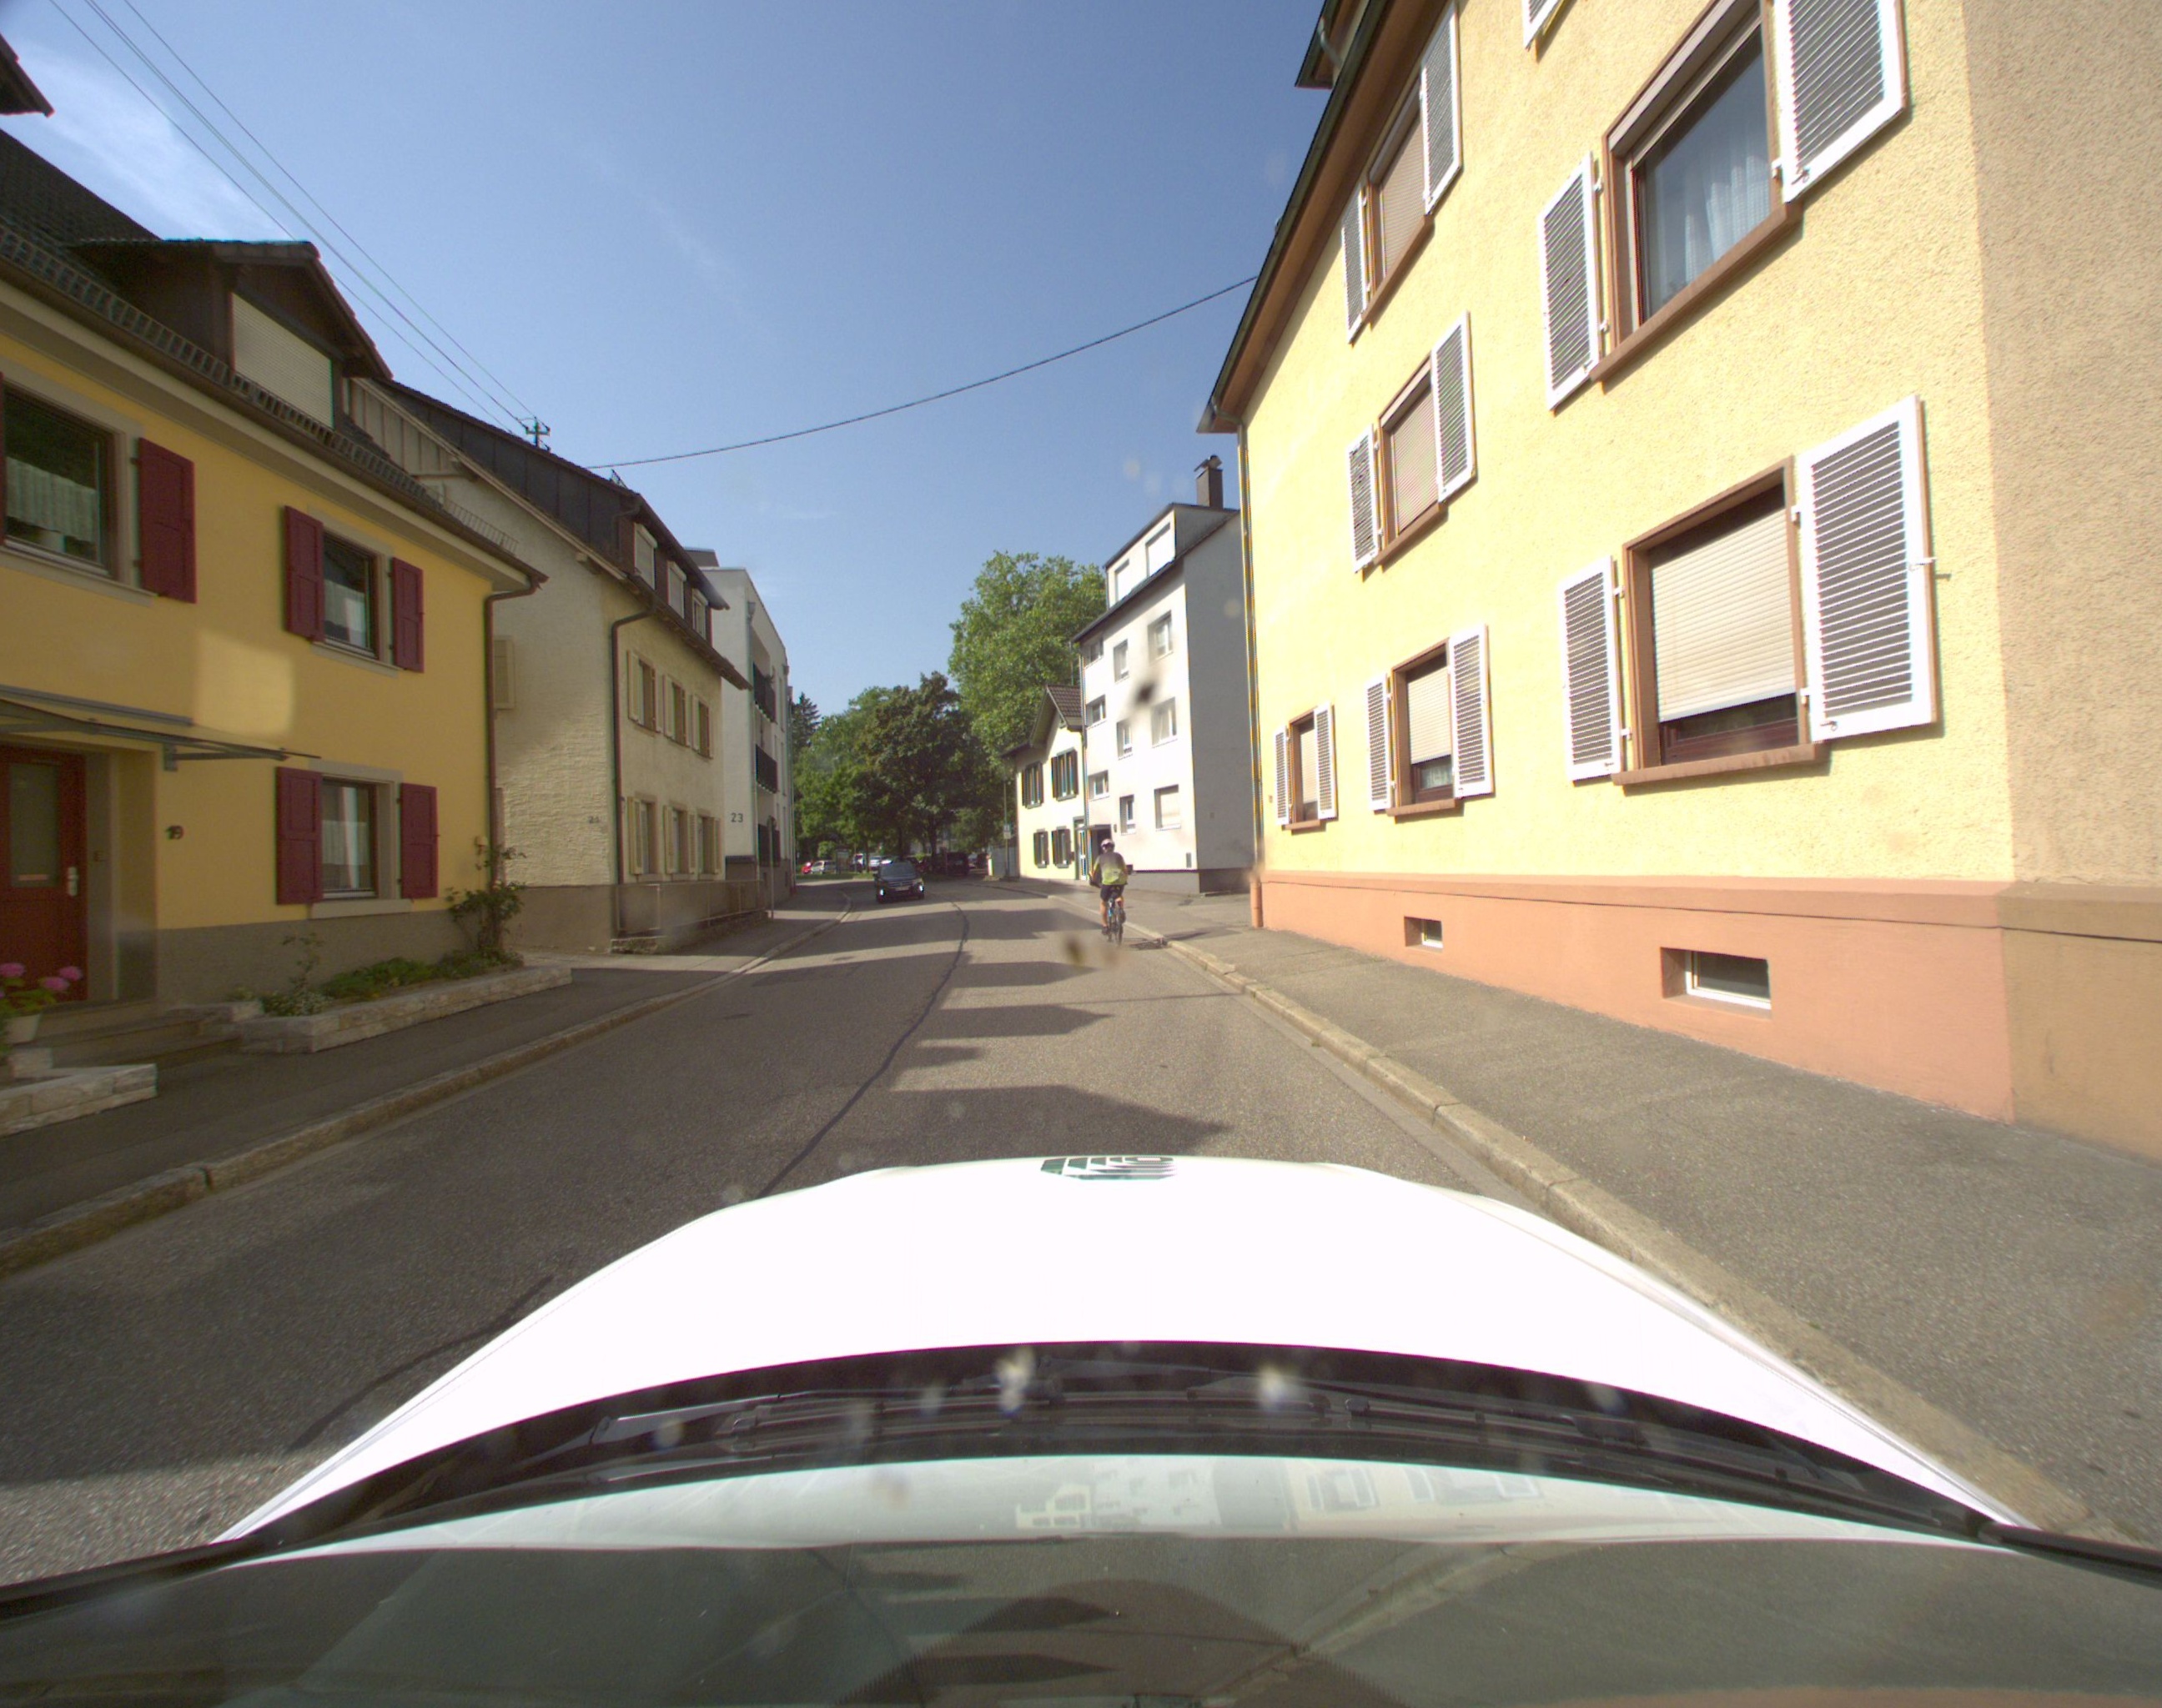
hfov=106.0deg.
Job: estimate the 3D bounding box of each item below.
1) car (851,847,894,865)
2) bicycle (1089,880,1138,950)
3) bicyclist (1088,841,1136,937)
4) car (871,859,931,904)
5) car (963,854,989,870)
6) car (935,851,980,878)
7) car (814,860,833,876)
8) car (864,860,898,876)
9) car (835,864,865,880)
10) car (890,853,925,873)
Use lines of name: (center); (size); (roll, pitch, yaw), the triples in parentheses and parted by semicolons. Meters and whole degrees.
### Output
car: (-23.674, 0.208, 92.538); (1.974, 1.855, 4.730); (-2, 0, 30)
bicycle: (0.525, 0.984, 13.567); (0.697, 1.035, 1.470); (-1, 0, -2)
bicyclist: (0.508, 0.569, 13.607); (0.683, 1.531, 0.715); (-3, -1, -1)
car: (-7.341, 1.083, 33.002); (1.830, 1.537, 3.974); (-6, 1, -19)
car: (-9.329, 0.740, 72.208); (1.587, 1.257, 3.835); (-4, 0, -17)
car: (-8.978, 0.715, 58.830); (1.834, 1.791, 3.961); (-3, 2, -30)
car: (-27.158, 1.470, 85.872); (1.750, 1.552, 3.727); (-2, 0, -20)
car: (-21.777, 1.506, 88.855); (1.796, 1.552, 4.017); (-2, 0, 16)
car: (-23.195, 1.843, 81.698); (1.687, 1.468, 3.370); (-2, 0, -40)
car: (-14.796, 0.733, 69.394); (1.719, 1.542, 3.961); (-3, 2, -30)
